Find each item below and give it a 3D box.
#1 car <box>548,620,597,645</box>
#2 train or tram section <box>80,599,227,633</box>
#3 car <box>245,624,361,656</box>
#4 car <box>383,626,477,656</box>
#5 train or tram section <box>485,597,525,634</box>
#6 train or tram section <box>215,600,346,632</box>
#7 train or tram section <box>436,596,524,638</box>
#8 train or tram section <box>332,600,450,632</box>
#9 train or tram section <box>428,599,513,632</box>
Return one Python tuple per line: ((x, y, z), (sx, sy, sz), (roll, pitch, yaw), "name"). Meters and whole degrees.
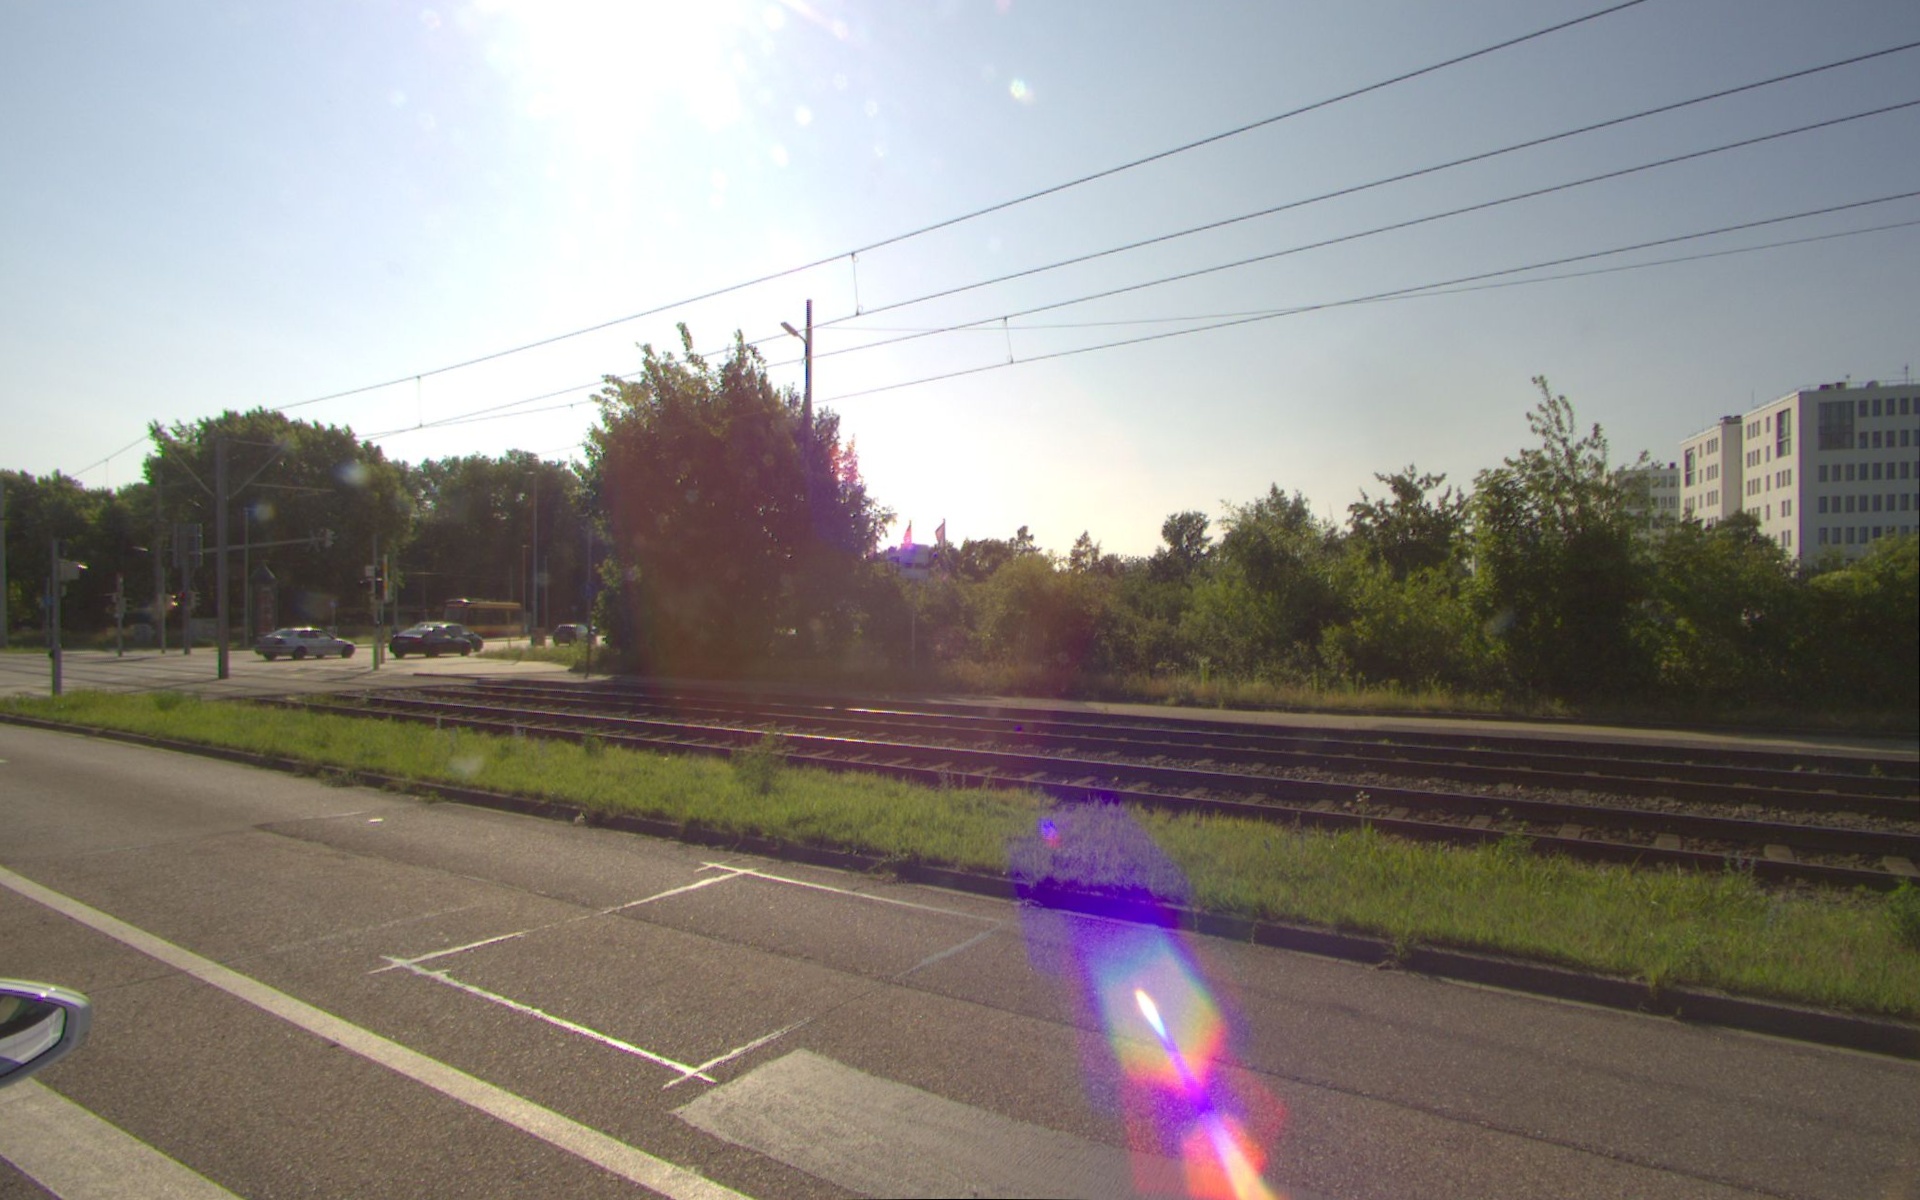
((-26.985, 2.240, 69.875), (1.961, 1.686, 4.633), (0, -1, -6), "car")
((-88.976, 1.757, 110.799), (12.249, 3.626, 3.041), (0, -1, -27), "train or tram section")
((-30.071, 1.782, 45.993), (1.962, 1.371, 4.408), (0, -1, 10), "car")
((-25.806, 1.956, 48.950), (1.961, 1.371, 4.408), (0, -1, 6), "car")
((-47.648, 1.623, 104.604), (3.009, 3.626, 12.174), (0, -1, -28), "train or tram section")
((-78.212, 1.858, 115.612), (12.027, 3.626, 3.045), (0, -1, -22), "train or tram section")
((-44.448, 1.567, 93.201), (2.995, 3.626, 11.853), (0, -1, -3), "train or tram section")
((-66.499, 1.881, 117.214), (11.992, 3.626, 3.054), (0, -1, -1), "train or tram section")
((-55.555, 1.742, 113.436), (12.061, 3.626, 3.037), (-1, -1, 34), "train or tram section")
